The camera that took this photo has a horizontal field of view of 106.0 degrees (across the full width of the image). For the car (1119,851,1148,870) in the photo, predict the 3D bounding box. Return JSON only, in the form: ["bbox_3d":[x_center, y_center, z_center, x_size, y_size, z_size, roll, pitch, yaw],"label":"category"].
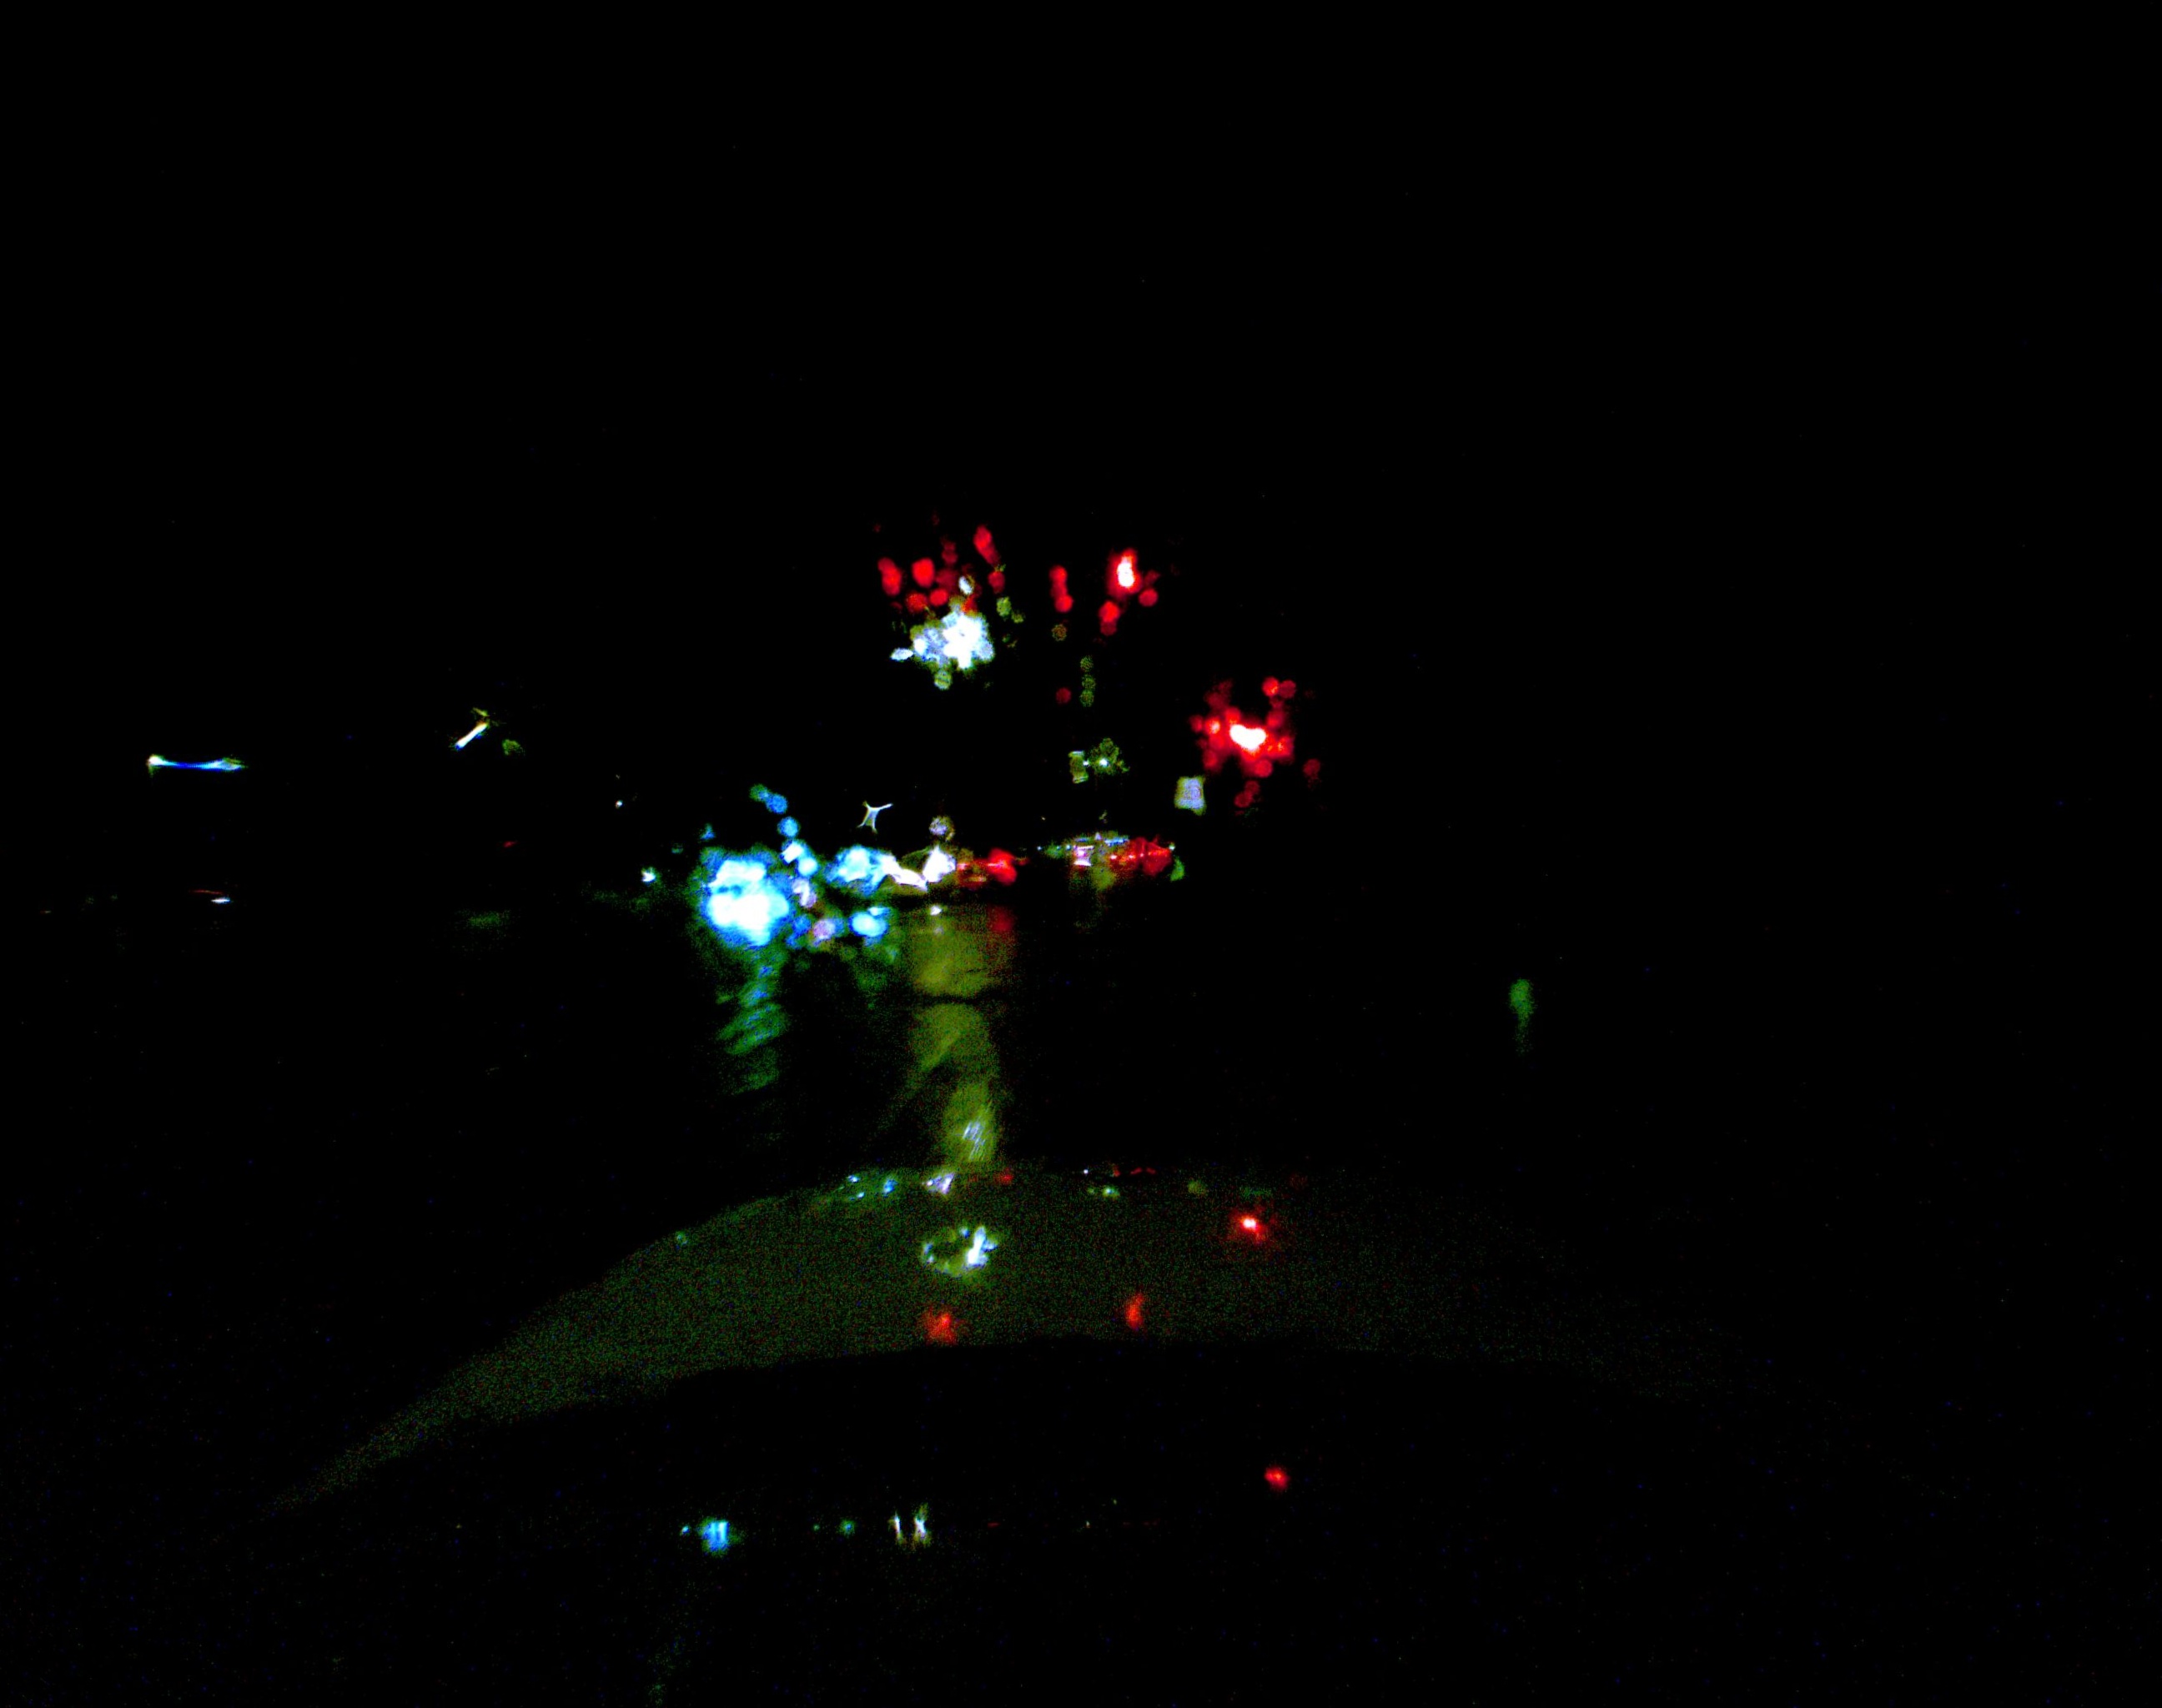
[{"bbox_3d":[3.918,0.467,61.349,2.098,1.339,4.297,-1,-1,2],"label":"car"}]

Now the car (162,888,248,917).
[{"bbox_3d":[-53.176,2.901,49.555,1.659,1.498,4.345,-4,0,-20],"label":"car"}]

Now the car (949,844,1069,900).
[{"bbox_3d":[-2.147,0.542,25.395,1.976,1.611,4.125,-1,-1,23],"label":"car"}]

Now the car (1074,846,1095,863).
[{"bbox_3d":[0.414,0.045,87.248,1.708,1.703,4.152,-1,0,8],"label":"car"}]

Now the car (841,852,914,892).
[{"bbox_3d":[-8.697,0.723,35.174,1.691,1.571,4.716,-1,0,3],"label":"car"}]

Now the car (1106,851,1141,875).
[{"bbox_3d":[2.687,0.571,52.023,2.094,1.439,4.002,-1,-1,2],"label":"car"}]

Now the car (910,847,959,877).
[{"bbox_3d":[-7.911,0.455,44.226,1.577,1.526,3.658,-1,-1,6],"label":"car"}]

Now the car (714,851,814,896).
[{"bbox_3d":[-12.322,0.696,32.022,1.785,1.571,4.917,-1,0,3],"label":"car"}]

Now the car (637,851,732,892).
[{"bbox_3d":[-19.801,0.830,40.714,4.016,1.831,1.703,-2,1,-34],"label":"car"}]
